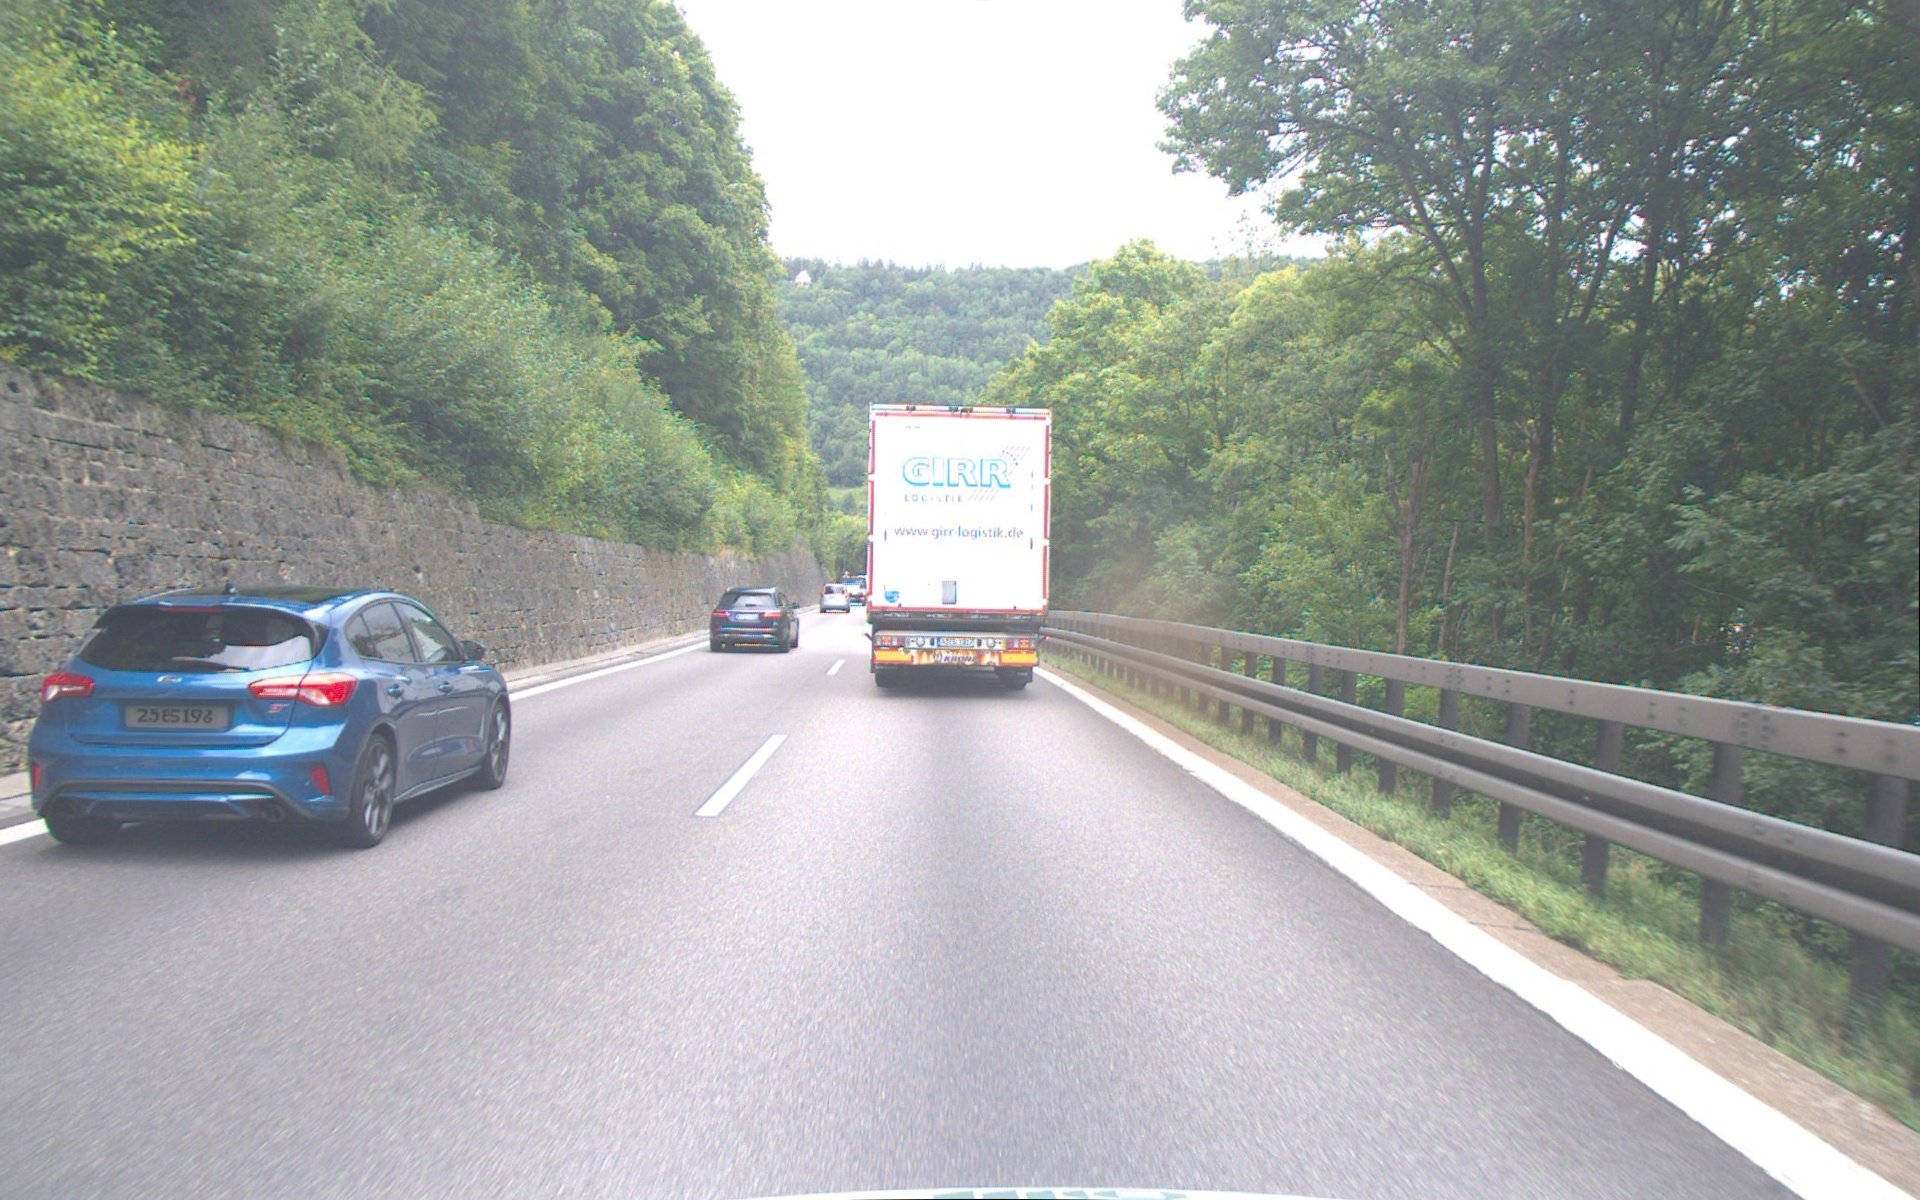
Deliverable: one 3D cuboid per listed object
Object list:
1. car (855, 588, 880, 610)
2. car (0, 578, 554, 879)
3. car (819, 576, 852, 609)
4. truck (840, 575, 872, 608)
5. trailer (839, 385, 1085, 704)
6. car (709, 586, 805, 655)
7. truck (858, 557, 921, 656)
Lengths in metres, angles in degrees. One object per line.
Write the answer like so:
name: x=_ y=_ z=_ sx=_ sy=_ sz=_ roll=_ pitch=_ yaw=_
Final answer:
car: x=-8.807 y=-0.078 z=157.824 sx=1.977 sy=1.947 sz=5.563 roll=3 pitch=0 yaw=0
car: x=-4.069 y=0.651 z=10.680 sx=1.798 sy=1.494 sz=4.554 roll=1 pitch=0 yaw=-1
car: x=-7.024 y=-0.415 z=93.779 sx=1.601 sy=1.757 sz=4.343 roll=2 pitch=0 yaw=-2
truck: x=-8.074 y=-0.674 z=128.721 sx=2.302 sy=2.313 sz=6.845 roll=3 pitch=0 yaw=-3
trailer: x=-0.173 y=-0.814 z=27.214 sx=3.071 sy=4.112 sz=9.435 roll=4 pitch=1 yaw=-3
car: x=-4.743 y=0.428 z=39.281 sx=1.725 sy=1.489 sz=5.121 roll=1 pitch=1 yaw=-1
truck: x=-3.037 y=0.246 z=69.554 sx=2.190 sy=3.870 sz=6.816 roll=3 pitch=0 yaw=-5
